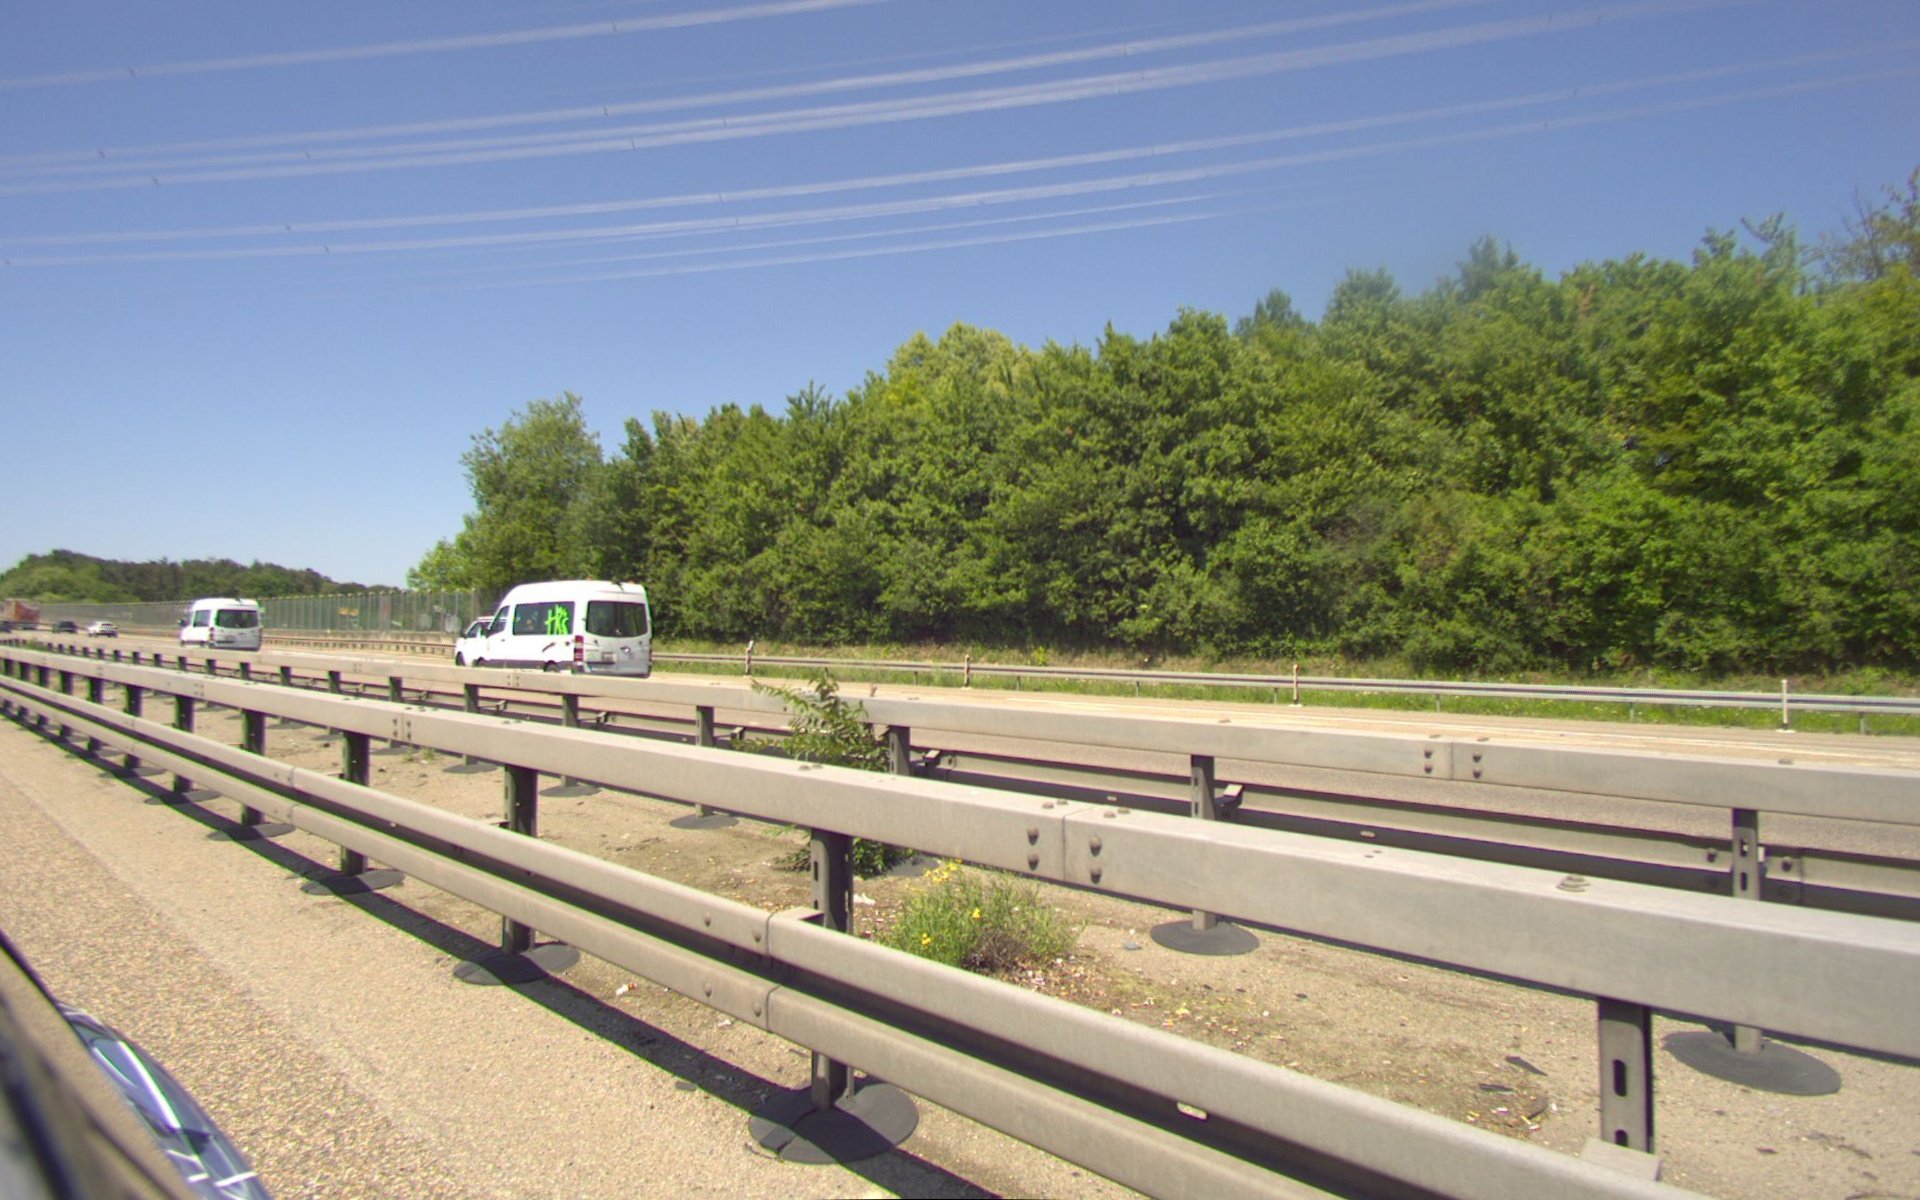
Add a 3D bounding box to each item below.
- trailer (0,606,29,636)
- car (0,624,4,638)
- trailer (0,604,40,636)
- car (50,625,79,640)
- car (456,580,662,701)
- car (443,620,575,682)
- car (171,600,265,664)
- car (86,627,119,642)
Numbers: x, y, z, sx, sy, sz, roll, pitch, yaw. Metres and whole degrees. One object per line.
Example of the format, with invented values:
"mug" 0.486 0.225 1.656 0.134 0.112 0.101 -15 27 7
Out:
"trailer" -131.084 2.900 139.881 6.128 4.007 2.728 -2 -4 41
"car" -104.738 3.327 109.194 4.142 1.457 1.857 0 -2 40
"trailer" -126.624 2.767 135.915 14.674 4.007 2.734 -2 -4 41
"car" -103.677 3.712 117.164 5.274 1.588 1.972 0 0 42
"car" -9.863 0.917 24.611 5.887 2.613 2.133 0 -2 41
"car" -15.507 1.695 34.658 5.488 1.919 1.846 0 -3 40
"car" -33.624 1.435 45.791 5.836 2.671 2.031 0 -5 41
"car" -84.981 3.411 100.282 4.340 1.467 1.669 -1 -3 39
